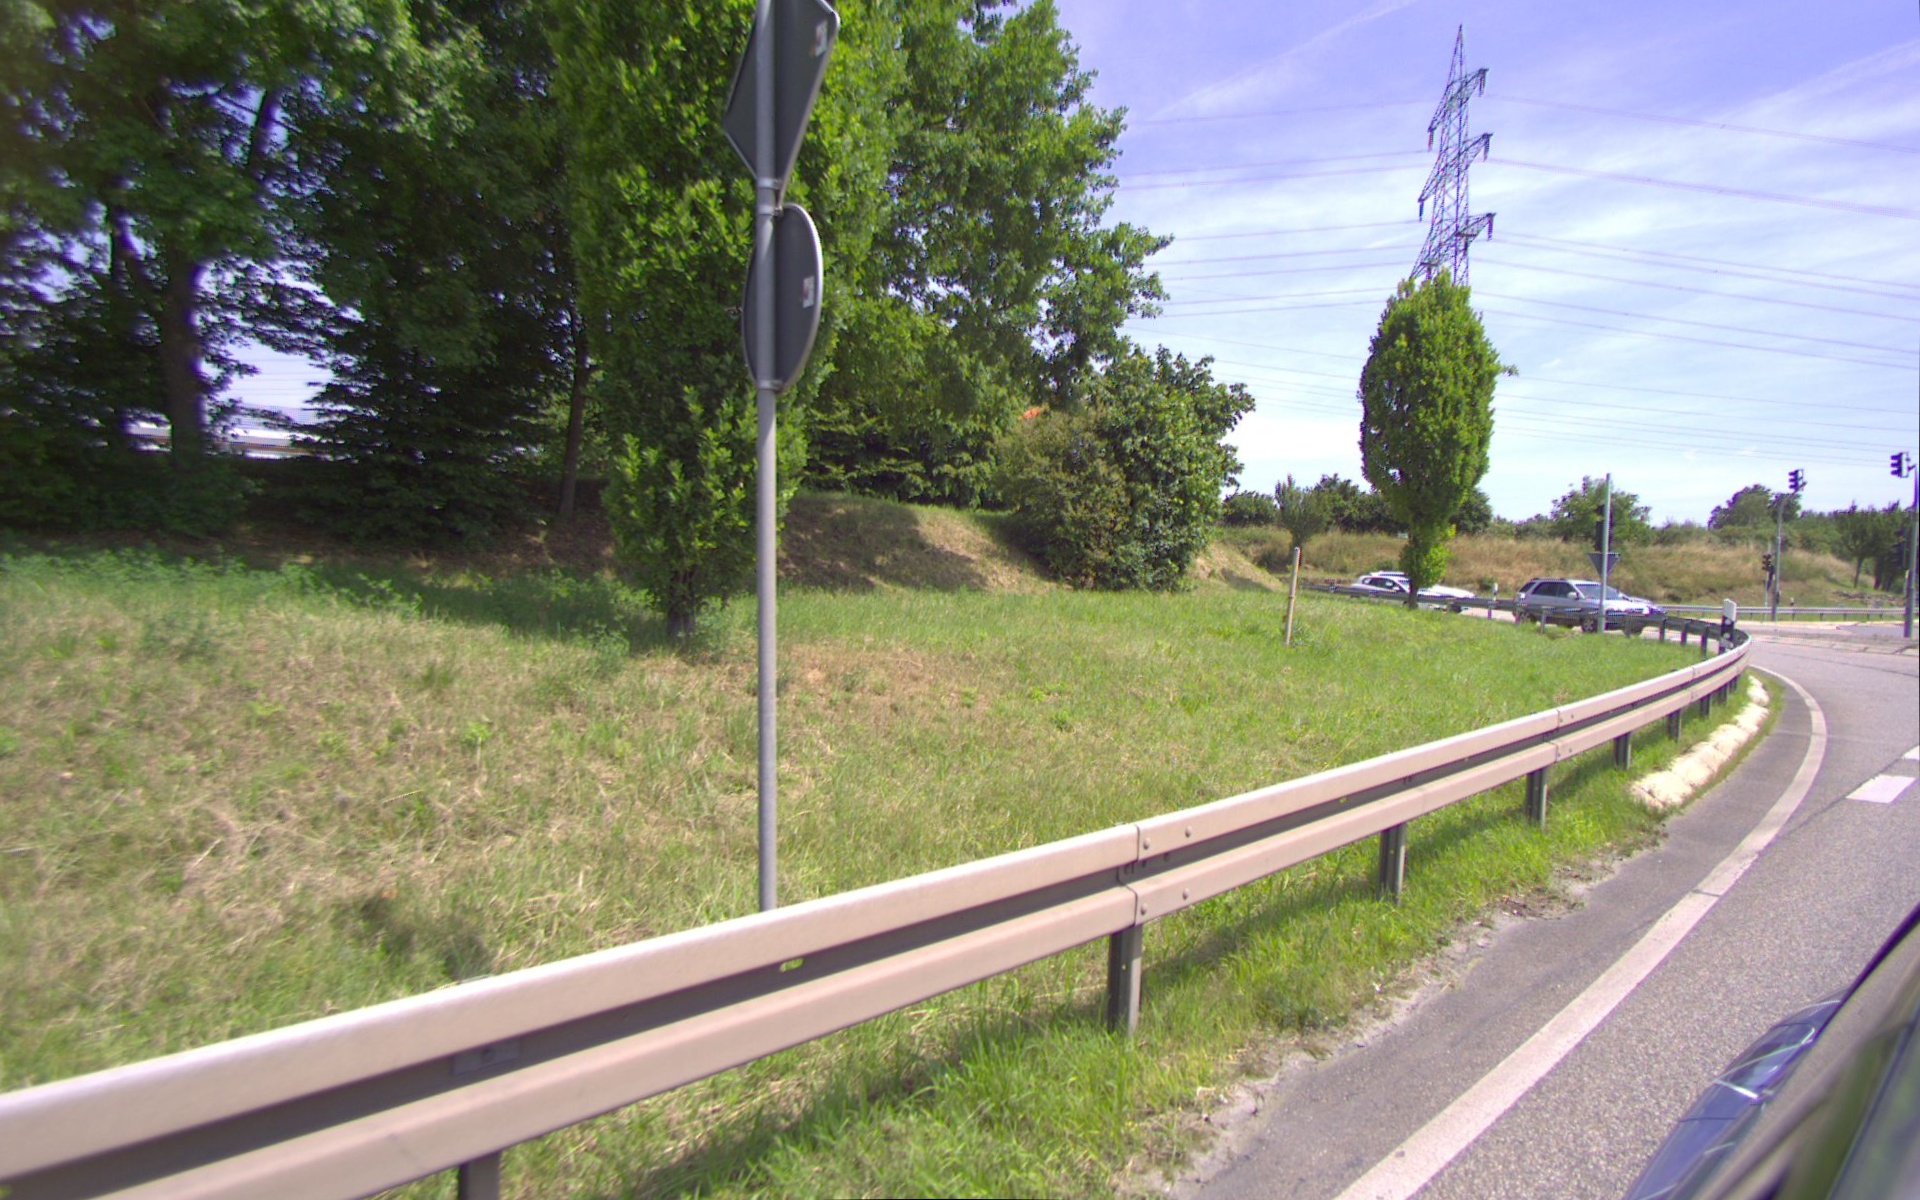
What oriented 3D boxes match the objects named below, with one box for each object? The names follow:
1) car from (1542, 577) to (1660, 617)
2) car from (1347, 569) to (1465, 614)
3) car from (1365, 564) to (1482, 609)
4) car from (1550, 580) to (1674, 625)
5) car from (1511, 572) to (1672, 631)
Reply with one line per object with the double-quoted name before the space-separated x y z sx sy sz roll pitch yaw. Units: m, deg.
"car" 28.754 -0.176 45.498 4.344 1.529 1.695 4 3 35
"car" 17.651 -0.377 40.223 1.746 1.619 4.005 0 3 -31
"car" 19.943 -0.611 43.604 4.343 1.611 1.759 5 4 33
"car" 25.582 0.055 39.874 3.970 1.529 1.697 3 2 32
"car" 20.138 0.006 32.522 1.798 1.675 4.382 1 2 -11
